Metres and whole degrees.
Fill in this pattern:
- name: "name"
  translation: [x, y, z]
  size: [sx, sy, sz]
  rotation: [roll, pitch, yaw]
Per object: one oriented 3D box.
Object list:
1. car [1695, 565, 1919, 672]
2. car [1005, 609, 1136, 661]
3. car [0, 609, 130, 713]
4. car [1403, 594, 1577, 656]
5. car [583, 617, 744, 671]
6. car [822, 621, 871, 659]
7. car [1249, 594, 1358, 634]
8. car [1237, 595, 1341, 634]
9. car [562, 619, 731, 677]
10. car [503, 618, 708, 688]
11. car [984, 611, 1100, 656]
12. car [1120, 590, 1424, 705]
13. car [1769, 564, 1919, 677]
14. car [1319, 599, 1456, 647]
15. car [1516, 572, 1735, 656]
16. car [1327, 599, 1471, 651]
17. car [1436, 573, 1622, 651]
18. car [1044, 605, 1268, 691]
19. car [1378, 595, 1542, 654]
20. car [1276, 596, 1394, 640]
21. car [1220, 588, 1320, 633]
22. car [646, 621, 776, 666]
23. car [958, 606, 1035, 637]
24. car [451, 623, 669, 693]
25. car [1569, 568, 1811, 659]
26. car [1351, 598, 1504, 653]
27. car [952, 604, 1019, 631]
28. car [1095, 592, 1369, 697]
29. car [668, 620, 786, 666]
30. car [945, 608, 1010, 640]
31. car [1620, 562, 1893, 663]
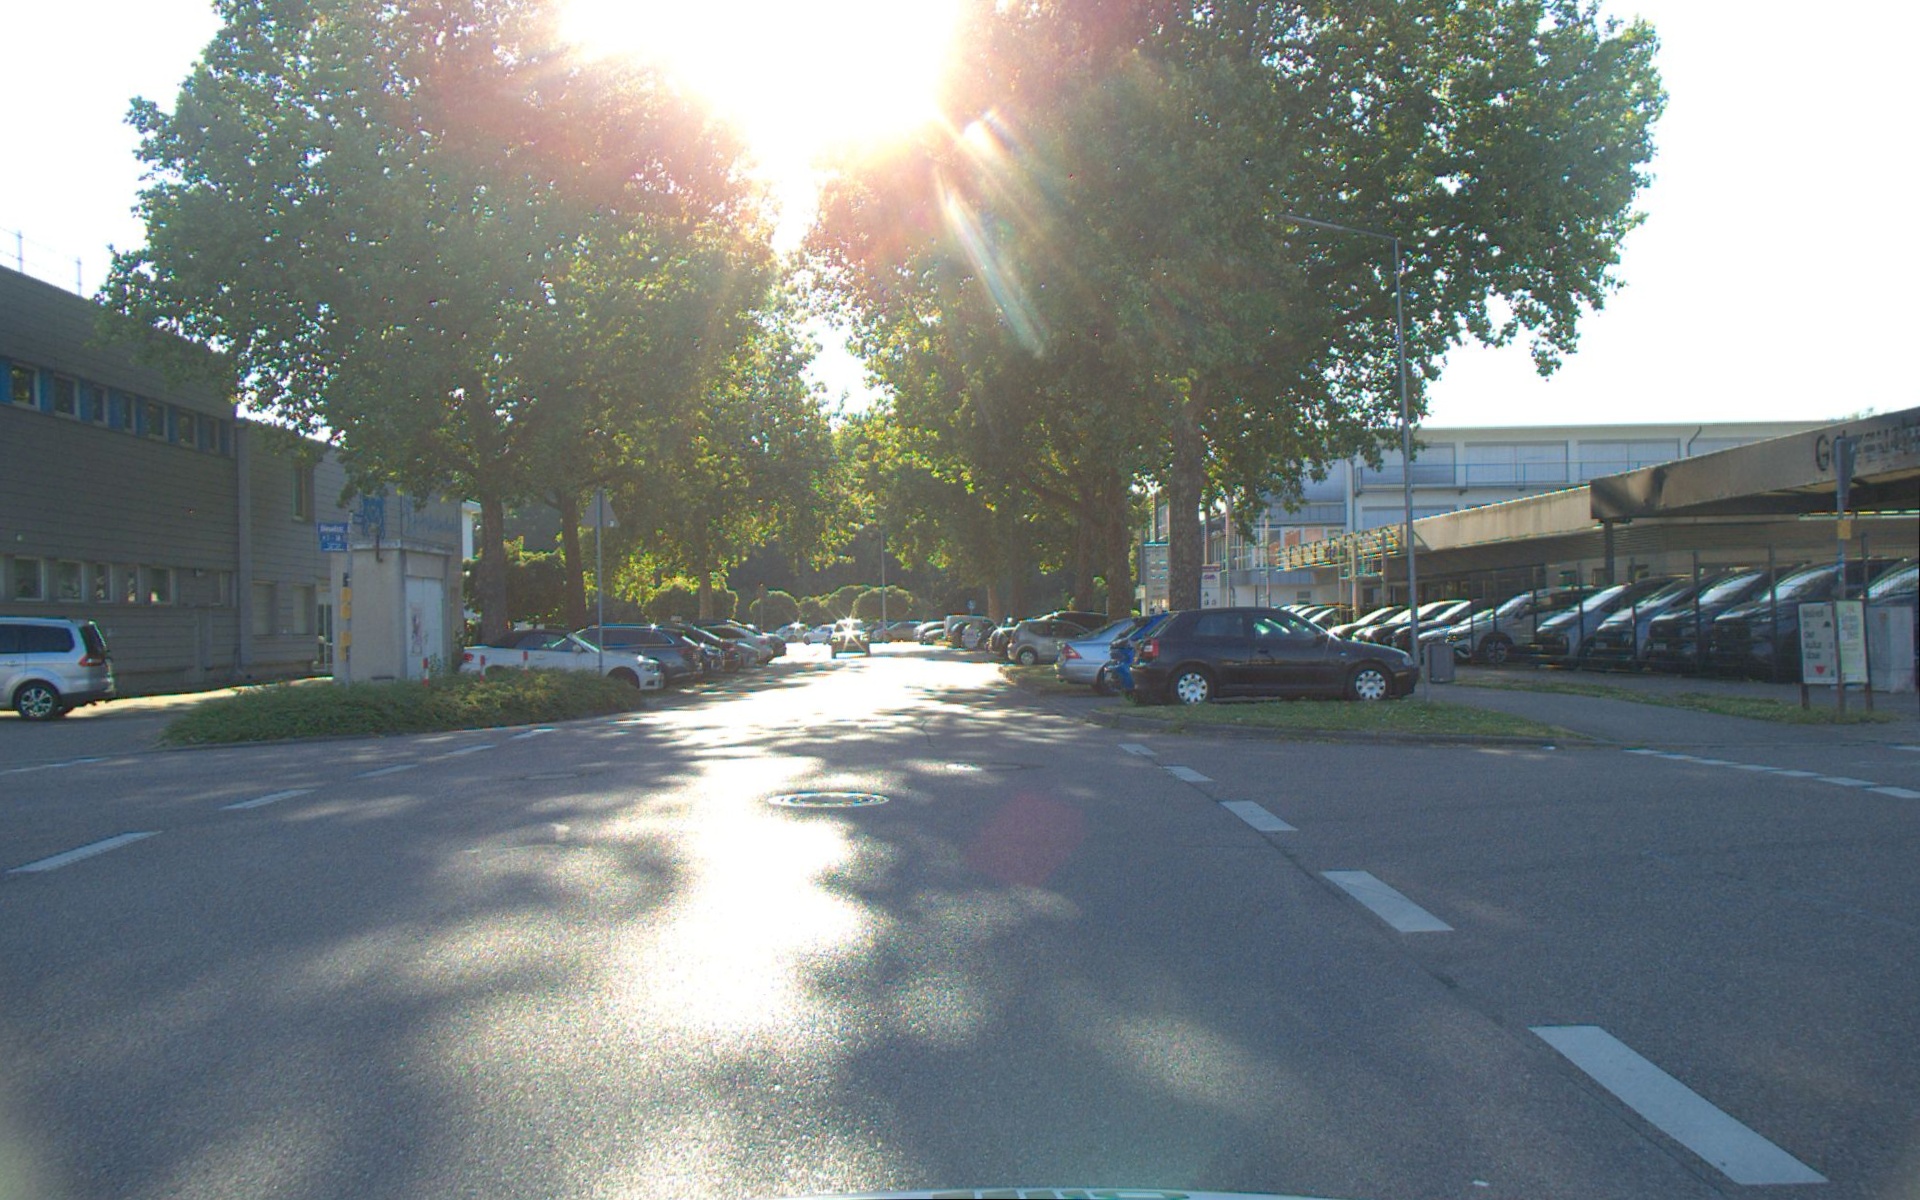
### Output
- name: "car"
  translation: [14.381, 0.294, 26.969]
  size: [3.907, 1.663, 1.999]
  rotation: [0, -1, -3]
- name: "car"
  translation: [3.420, 1.090, 51.853]
  size: [3.906, 1.440, 1.826]
  rotation: [-2, -1, -2]
- name: "car"
  translation: [-17.206, 1.050, 28.864]
  size: [4.556, 1.771, 1.990]
  rotation: [0, -1, -18]
- name: "car"
  translation: [13.865, 0.646, 43.387]
  size: [3.907, 1.573, 1.999]
  rotation: [0, -1, -3]
- name: "car"
  translation: [-8.604, 1.272, 48.262]
  size: [4.325, 1.543, 2.000]
  rotation: [0, -1, 0]
- name: "car"
  translation: [-5.025, 1.761, 73.596]
  size: [1.953, 1.637, 3.999]
  rotation: [1, -1, -1]
- name: "car"
  translation: [13.761, 0.577, 66.448]
  size: [3.907, 1.573, 1.999]
  rotation: [0, -1, -3]
- name: "car"
  translation: [13.668, 0.605, 68.857]
  size: [3.907, 1.573, 1.999]
  rotation: [0, -1, -3]
- name: "car"
  translation: [-8.497, 1.290, 45.128]
  size: [4.329, 1.543, 1.998]
  rotation: [0, -1, -5]
- name: "car"
  translation: [-8.079, 1.194, 37.998]
  size: [4.327, 1.543, 1.999]
  rotation: [0, -1, -3]
- name: "car"
  translation: [2.832, 1.168, 57.816]
  size: [3.906, 1.405, 1.826]
  rotation: [-2, -1, -2]
- name: "car"
  translation: [4.377, 0.657, 23.660]
  size: [3.906, 1.440, 1.999]
  rotation: [-2, -1, -2]
- name: "car"
  translation: [14.391, 0.300, 24.444]
  size: [3.907, 1.596, 1.999]
  rotation: [0, -1, -3]
- name: "car"
  translation: [13.921, 0.759, 53.984]
  size: [3.907, 1.530, 1.999]
  rotation: [0, -1, -3]
- name: "car"
  translation: [14.261, 0.299, 35.596]
  size: [3.907, 1.730, 1.999]
  rotation: [0, -1, -3]
- name: "car"
  translation: [13.581, 0.763, 51.270]
  size: [3.907, 1.573, 1.999]
  rotation: [0, -1, -3]
- name: "car"
  translation: [14.000, 0.293, 40.844]
  size: [3.907, 1.864, 1.999]
  rotation: [0, -1, -3]
- name: "car"
  translation: [3.607, 0.883, 30.978]
  size: [3.906, 1.440, 1.826]
  rotation: [-2, -1, -2]
- name: "car"
  translation: [13.811, 0.673, 45.823]
  size: [3.907, 1.573, 1.999]
  rotation: [0, -1, -3]
- name: "car"
  translation: [13.886, 0.670, 61.420]
  size: [3.907, 1.573, 1.999]
  rotation: [0, -1, -3]
- name: "car"
  translation: [13.419, 0.457, 71.794]
  size: [3.907, 1.939, 1.999]
  rotation: [0, -1, -3]
- name: "car"
  translation: [-8.888, 1.547, 59.239]
  size: [4.325, 1.543, 2.000]
  rotation: [0, -1, 0]
- name: "car"
  translation: [1.887, 1.113, 86.412]
  size: [3.906, 1.440, 1.826]
  rotation: [-2, -1, -2]
- name: "car"
  translation: [-8.507, 1.224, 35.522]
  size: [4.331, 1.427, 1.997]
  rotation: [0, -1, -7]
- name: "car"
  translation: [14.421, 0.267, 32.816]
  size: [3.907, 1.730, 1.999]
  rotation: [0, -1, -3]
- name: "car"
  translation: [13.676, 0.746, 48.547]
  size: [3.907, 1.573, 1.999]
  rotation: [0, -1, -3]
- name: "car"
  translation: [1.495, 1.039, 99.383]
  size: [3.906, 1.440, 1.826]
  rotation: [-2, -1, -2]
- name: "car"
  translation: [4.191, 0.677, 25.943]
  size: [3.906, 1.440, 1.999]
  rotation: [-2, -1, -2]
- name: "car"
  translation: [-9.042, 1.659, 64.453]
  size: [4.325, 1.727, 2.000]
  rotation: [0, -1, 0]
- name: "car"
  translation: [1.084, 1.499, 102.461]
  size: [3.906, 1.808, 1.826]
  rotation: [-2, -1, -2]
- name: "car"
  translation: [14.160, 0.230, 29.560]
  size: [3.907, 1.730, 1.999]
  rotation: [0, -1, -3]
